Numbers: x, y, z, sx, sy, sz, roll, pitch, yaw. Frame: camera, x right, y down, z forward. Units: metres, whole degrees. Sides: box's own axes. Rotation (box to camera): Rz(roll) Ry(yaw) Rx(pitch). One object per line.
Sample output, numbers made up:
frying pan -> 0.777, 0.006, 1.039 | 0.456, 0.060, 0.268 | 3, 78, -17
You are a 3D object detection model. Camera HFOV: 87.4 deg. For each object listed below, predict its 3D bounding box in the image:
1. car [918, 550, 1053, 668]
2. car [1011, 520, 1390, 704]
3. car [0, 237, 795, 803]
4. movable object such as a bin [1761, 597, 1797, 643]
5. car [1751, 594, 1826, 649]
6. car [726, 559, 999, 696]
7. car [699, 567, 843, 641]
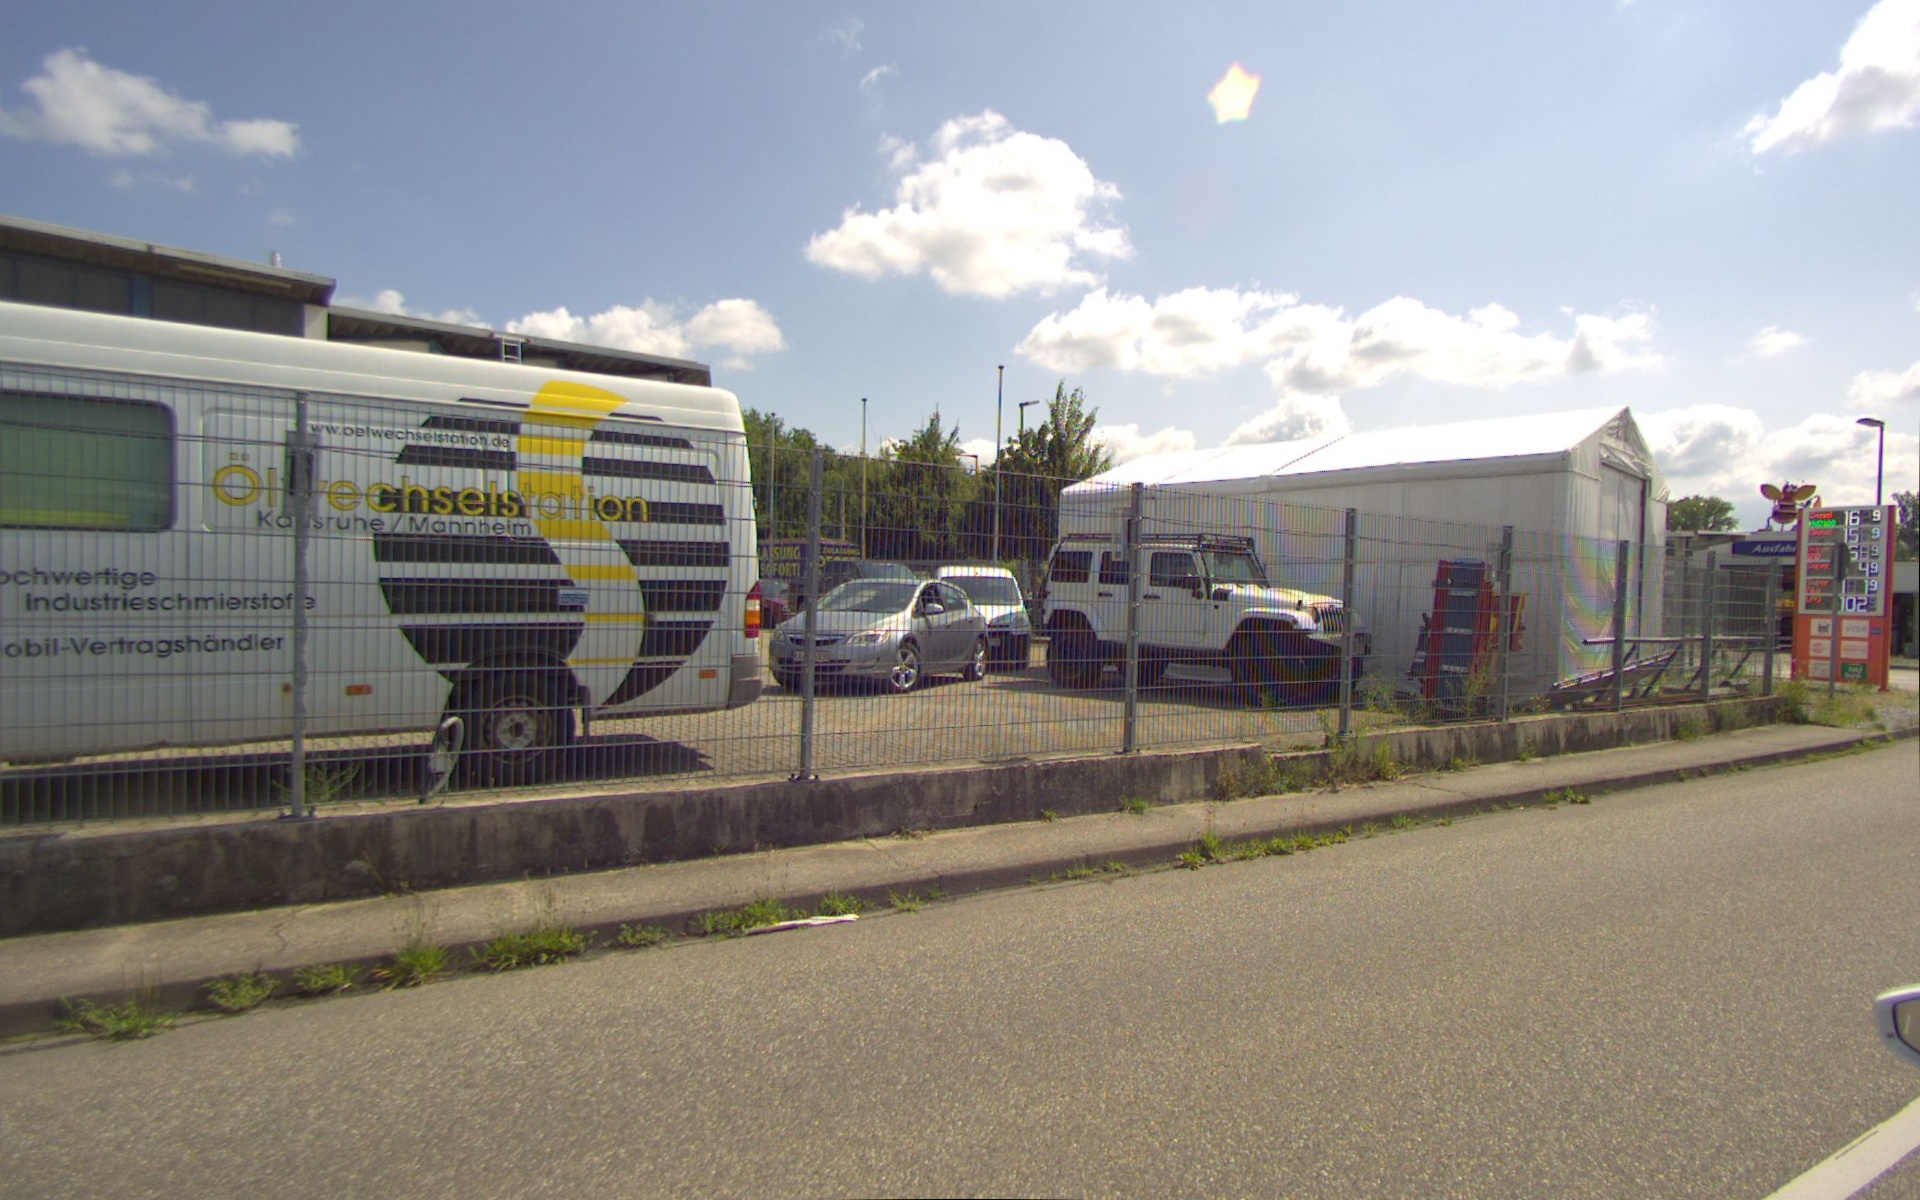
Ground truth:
car -> 0.330, 0.150, 18.626 | 1.962, 1.857, 4.411 | 2, 0, -5
car -> 3.077, 0.108, 13.469 | 4.506, 2.053, 2.047 | 2, 0, 43
car -> -4.462, -0.364, 5.769 | 6.646, 2.571, 2.106 | 1, 0, -34
movable object such as a bin -> 41.031, 1.014, 50.297 | 2.687, 2.181, 1.052 | 3, 0, -45
car -> 34.751, 0.910, 42.095 | 1.973, 2.137, 4.979 | 2, 0, 44
car -> -1.084, 0.297, 13.424 | 1.886, 1.449, 4.263 | 3, 1, 21
car -> -5.734, 0.081, 30.037 | 1.986, 2.040, 4.794 | 2, 0, -42
